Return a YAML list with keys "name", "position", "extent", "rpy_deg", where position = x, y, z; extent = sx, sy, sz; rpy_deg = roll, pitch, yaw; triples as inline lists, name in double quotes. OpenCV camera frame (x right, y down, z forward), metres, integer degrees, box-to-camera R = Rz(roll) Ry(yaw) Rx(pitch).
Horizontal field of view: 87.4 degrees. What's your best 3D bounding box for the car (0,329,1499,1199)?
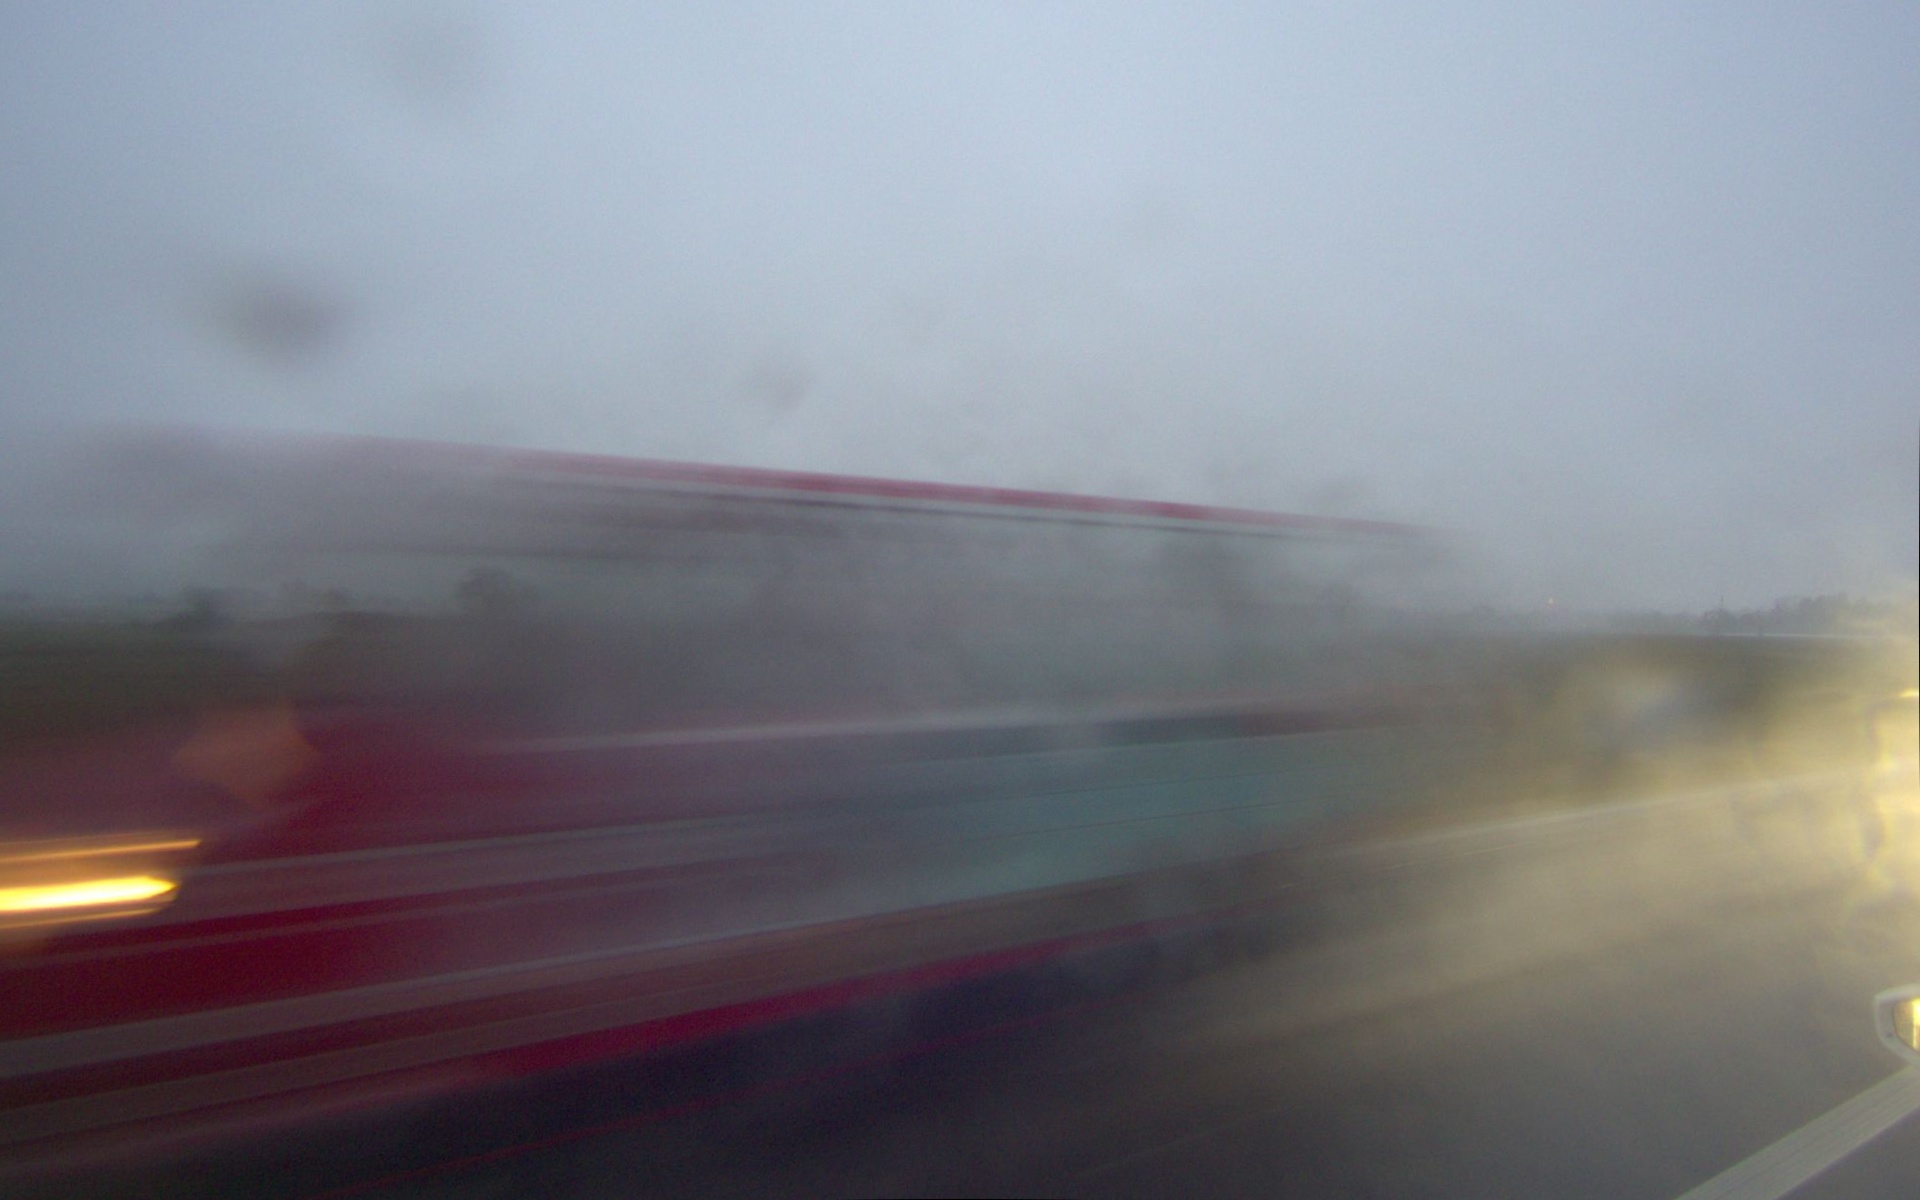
- name: "car"
  position: [-0.480, 0.549, 3.606]
  extent: [4.894, 1.895, 1.984]
  rpy_deg: [1, -3, -30]
